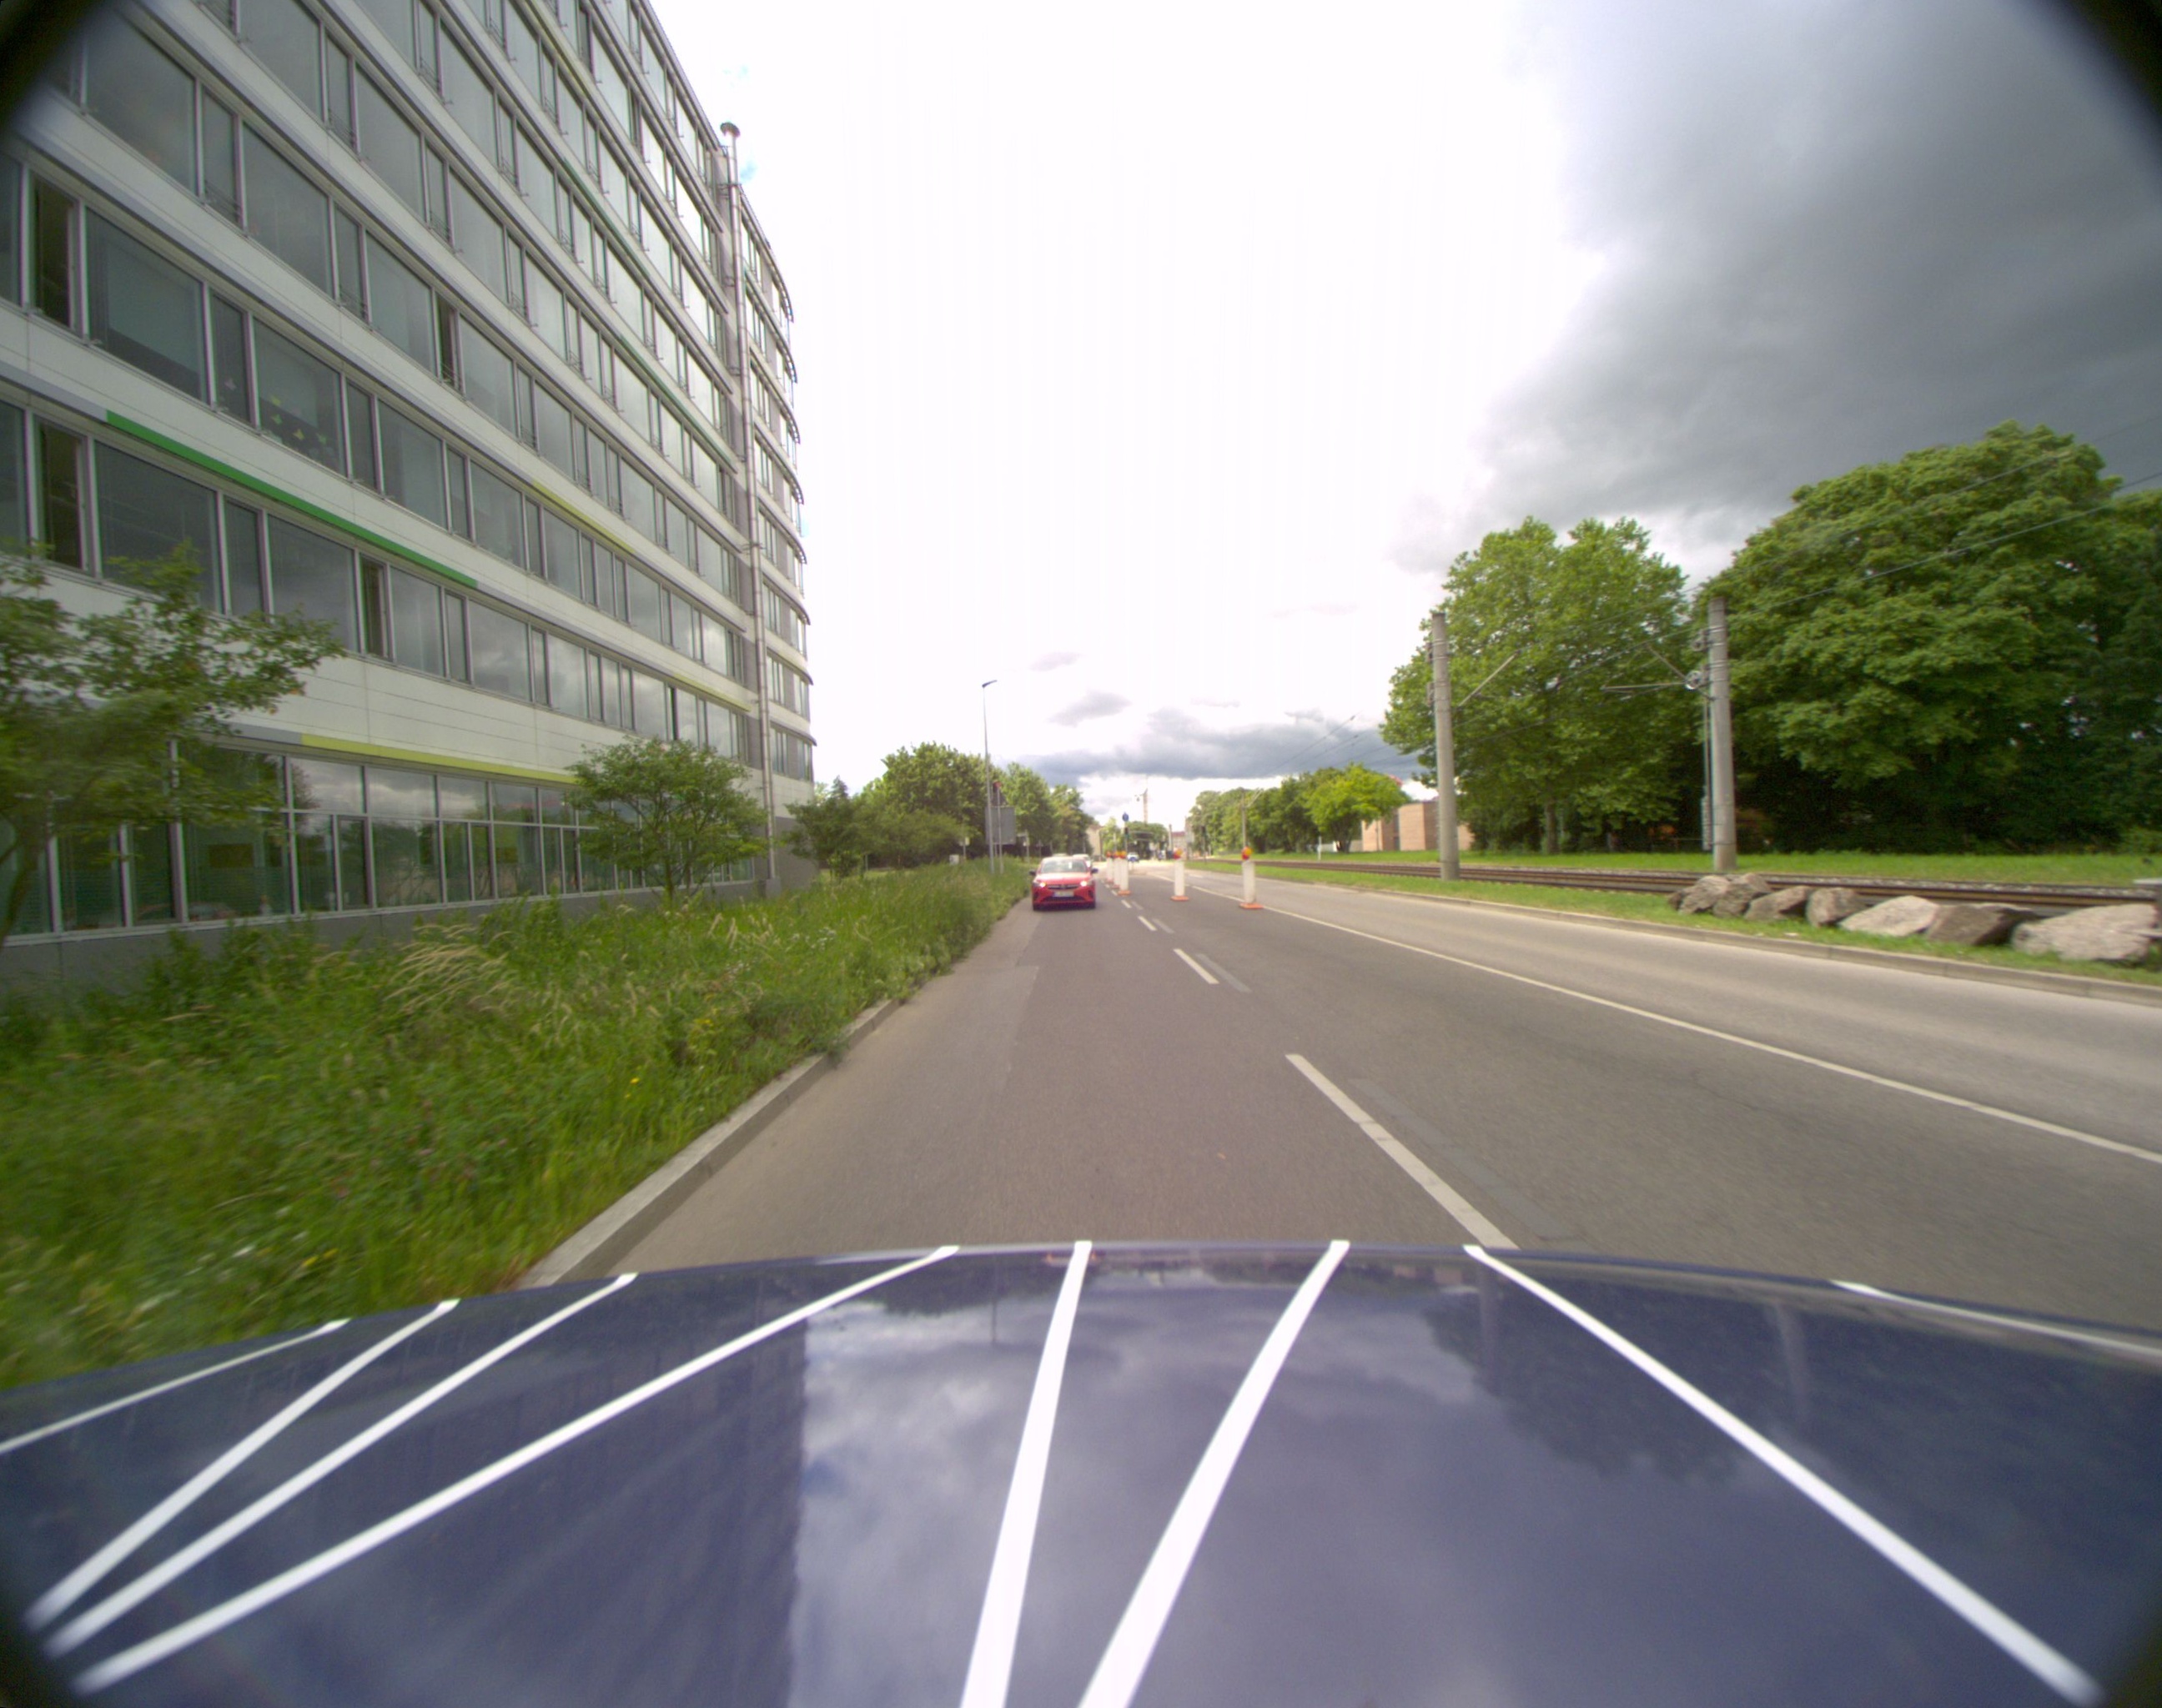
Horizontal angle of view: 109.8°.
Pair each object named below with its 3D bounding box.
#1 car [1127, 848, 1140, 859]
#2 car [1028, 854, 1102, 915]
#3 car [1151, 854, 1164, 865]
[{"bbox_3d":[8.305,-0.054,121.141,1.864,1.600,4.610,-1,-3,1],"label":"car"},{"bbox_3d":[-0.351,0.792,22.067,1.790,1.453,4.853,-3,0,2],"label":"car"},{"bbox_3d":[12.874,0.866,128.484,1.998,1.650,4.523,-3,0,4],"label":"car"}]
